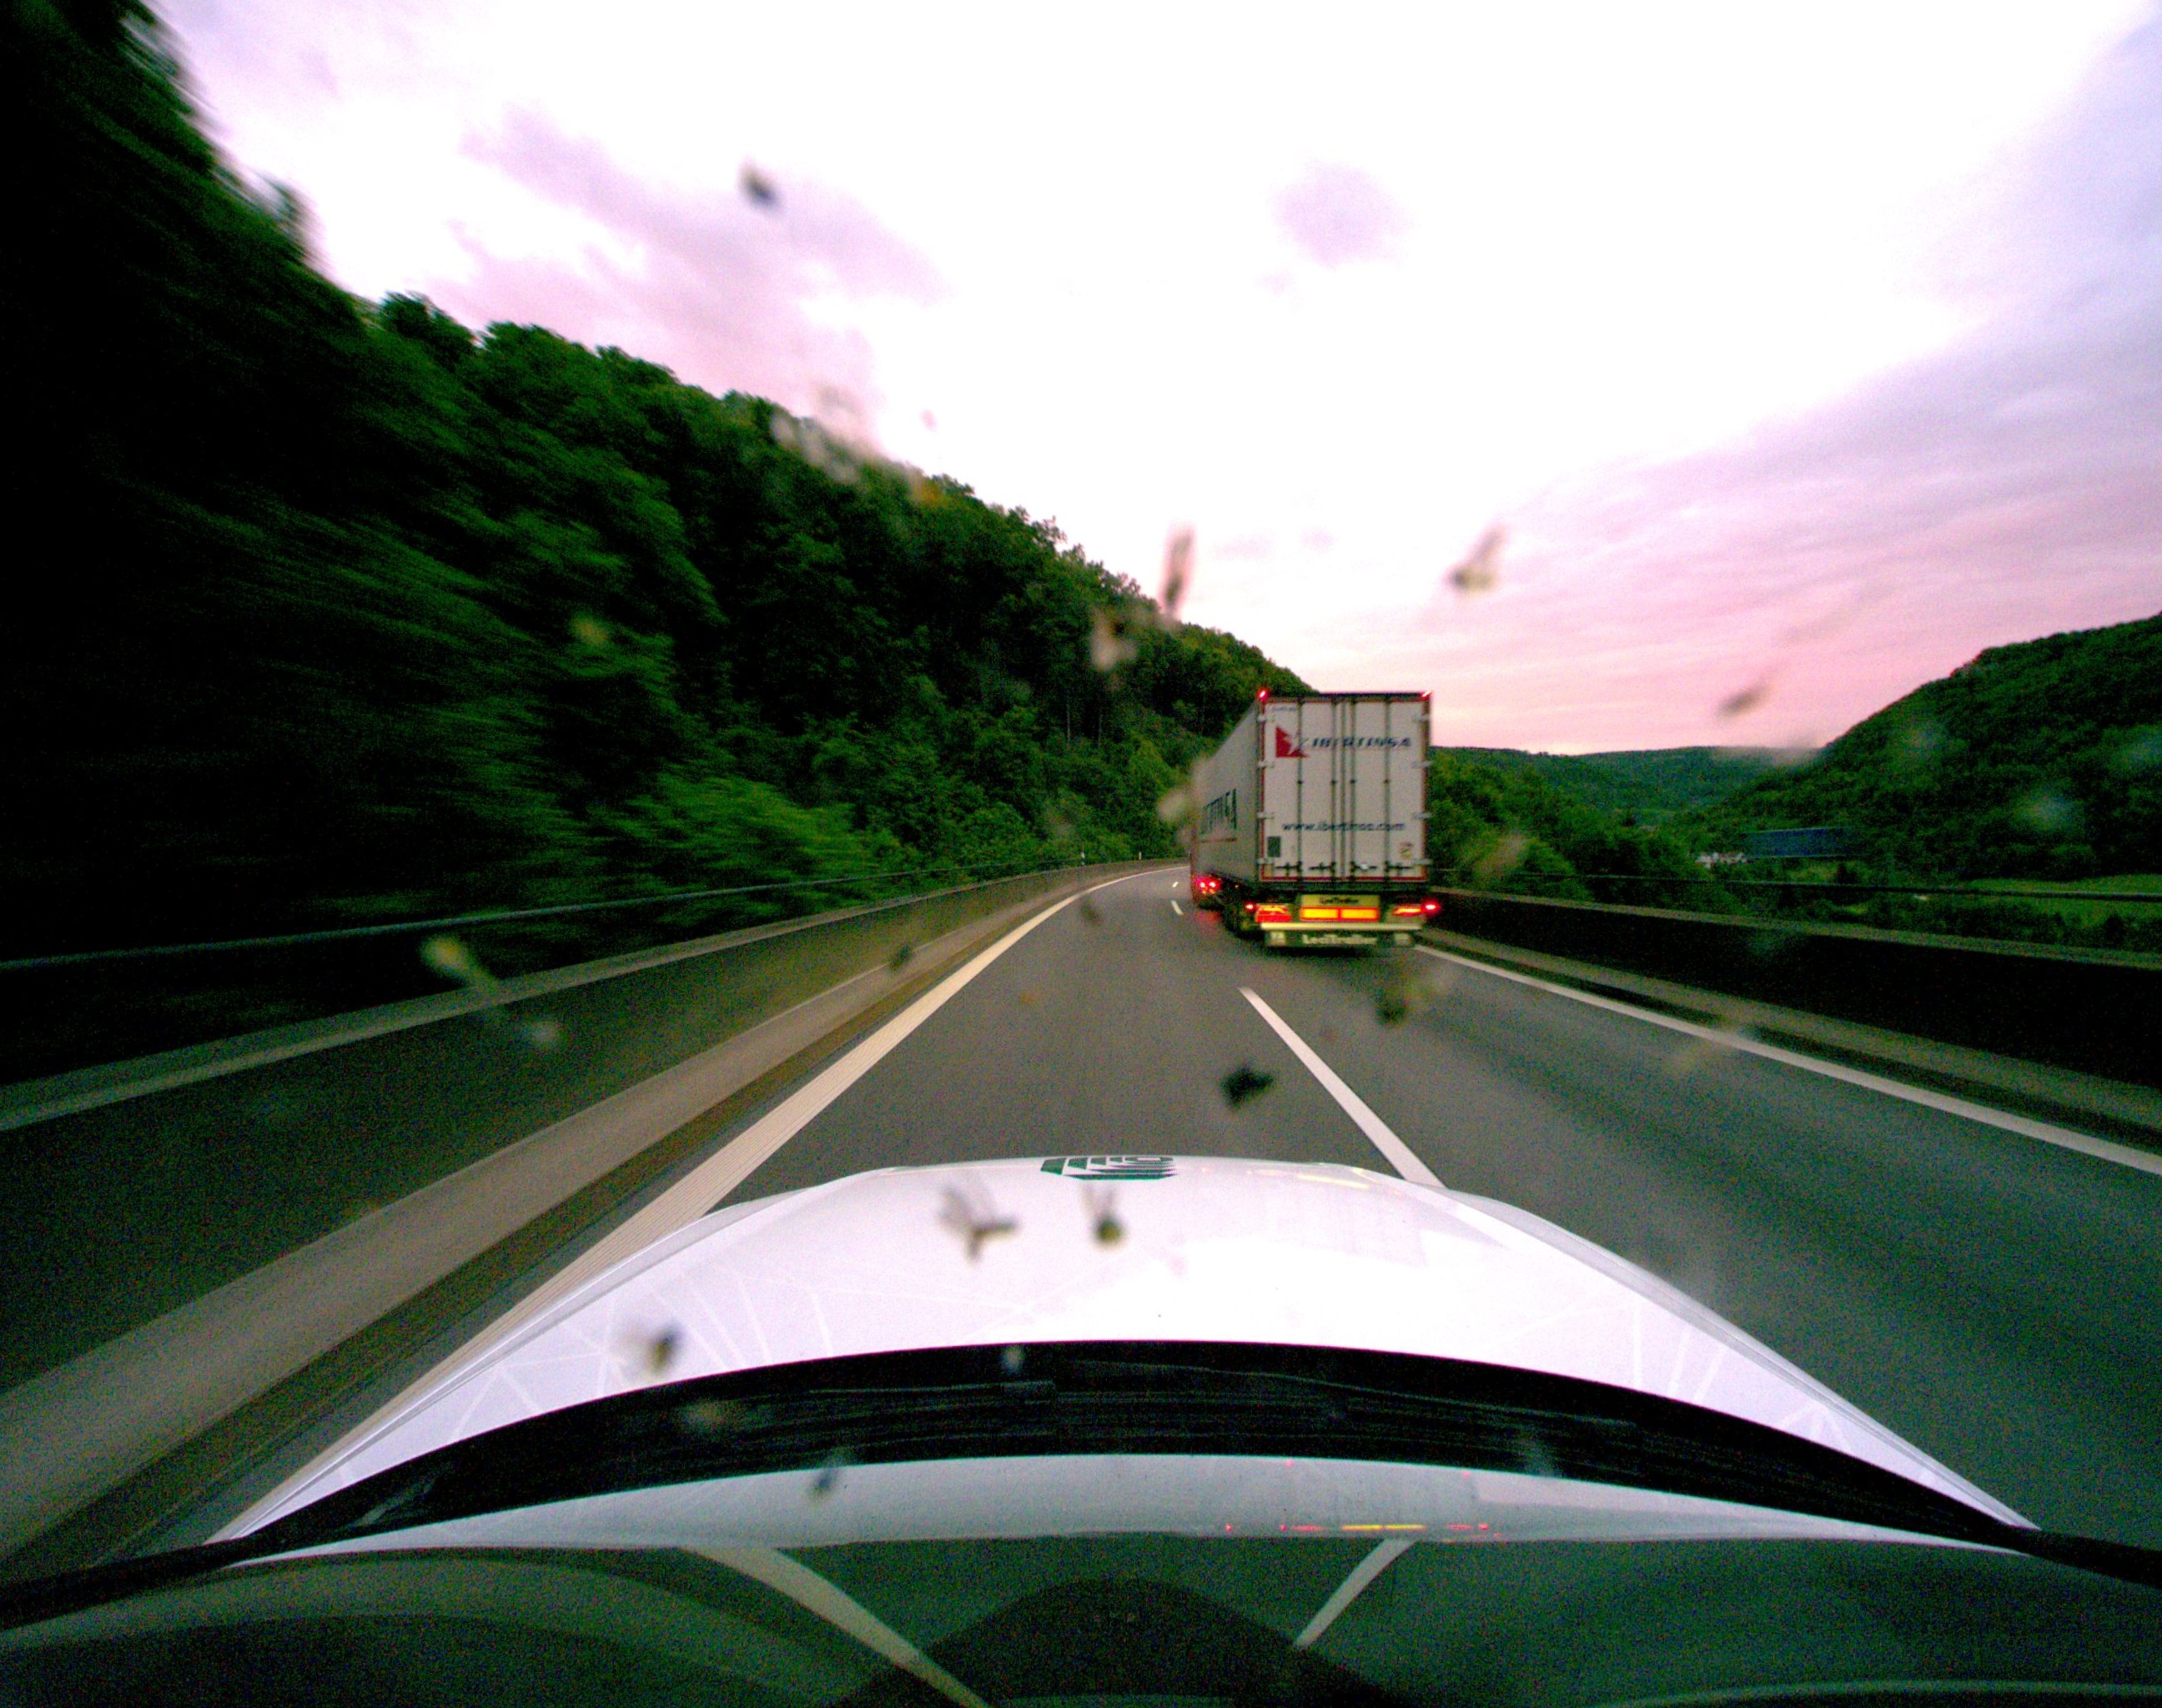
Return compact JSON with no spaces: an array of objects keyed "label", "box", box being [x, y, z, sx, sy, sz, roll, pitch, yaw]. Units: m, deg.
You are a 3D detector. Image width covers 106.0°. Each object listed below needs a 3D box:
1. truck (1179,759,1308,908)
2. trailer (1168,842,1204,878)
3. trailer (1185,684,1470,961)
[{"label":"truck","box":[4.914,-0.544,25.918,3.057,4.145,6.451,0,-1,3]},{"label":"trailer","box":[7.426,0.354,57.199,2.041,2.374,5.957,1,1,12]},{"label":"trailer","box":[4.470,-0.493,18.898,3.084,3.970,14.231,-1,0,3]}]
